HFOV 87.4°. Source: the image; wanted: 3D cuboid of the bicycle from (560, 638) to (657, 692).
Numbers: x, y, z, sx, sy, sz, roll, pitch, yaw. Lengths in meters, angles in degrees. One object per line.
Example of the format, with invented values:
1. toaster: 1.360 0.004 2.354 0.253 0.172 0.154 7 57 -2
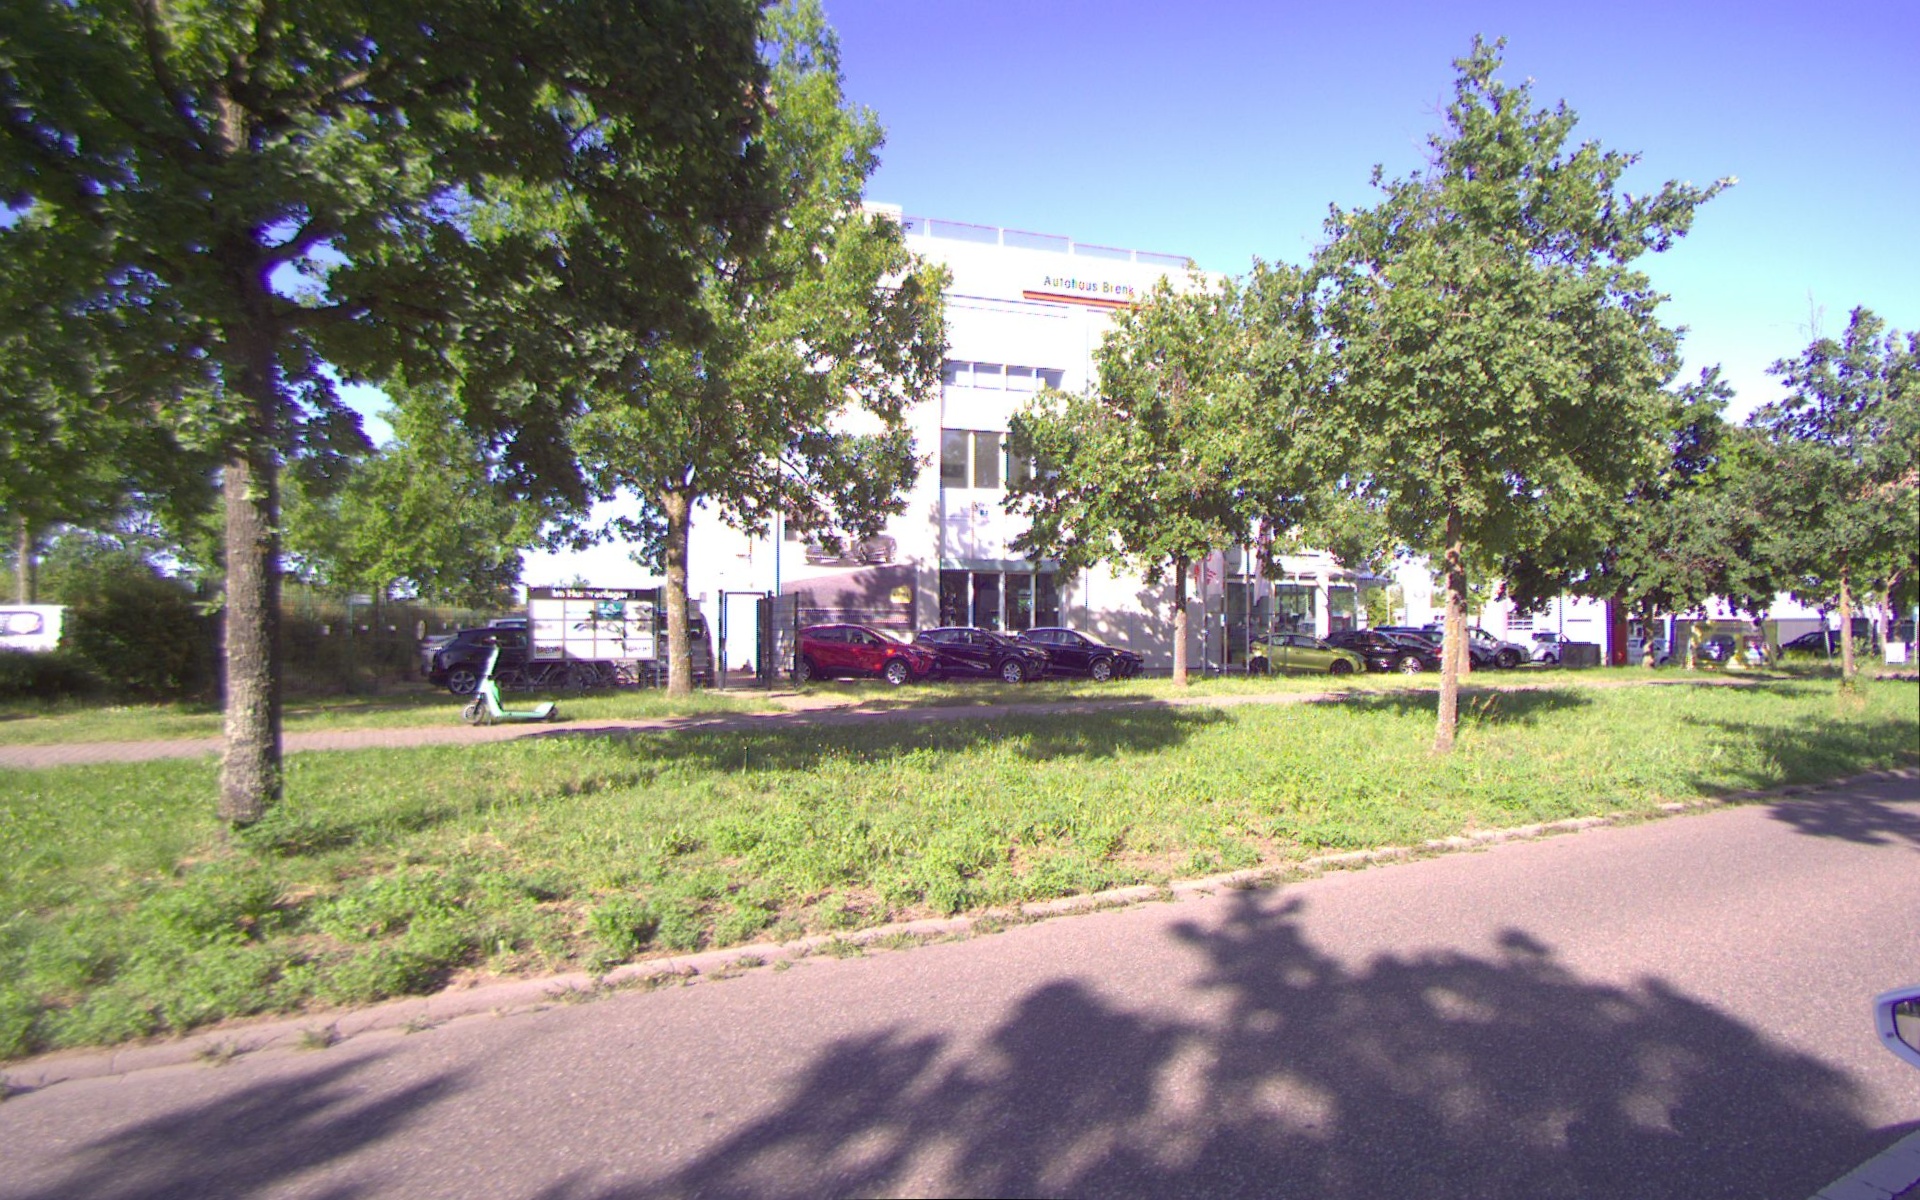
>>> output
1. bicycle: -7.546 1.378 21.582 1.869 1.102 0.636 1 -2 -30

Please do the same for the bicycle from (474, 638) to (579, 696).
1. bicycle: -8.679 1.326 20.130 1.869 1.102 0.636 1 -2 -30

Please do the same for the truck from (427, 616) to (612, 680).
1. truck: -13.646 1.469 31.286 5.116 1.866 2.019 1 -2 -27

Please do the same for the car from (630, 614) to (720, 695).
1. car: -7.239 1.282 25.274 1.994 1.807 4.014 1 0 -18

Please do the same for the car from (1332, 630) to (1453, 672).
1. car: 16.303 1.905 38.034 4.089 1.510 2.000 -1 -2 22

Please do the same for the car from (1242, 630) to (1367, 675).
1. car: 11.586 1.742 33.901 3.875 1.420 2.000 0 -2 19

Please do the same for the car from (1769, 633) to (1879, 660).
1. car: 49.803 2.670 57.988 1.920 1.499 4.477 1 -2 -32

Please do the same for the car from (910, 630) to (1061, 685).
1. car: 0.748 1.581 28.465 3.920 1.467 1.802 0 -2 18

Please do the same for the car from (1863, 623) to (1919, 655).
1. car: 62.645 2.604 67.100 5.744 2.014 2.024 1 -2 -33

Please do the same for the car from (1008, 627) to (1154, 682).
1. car: 3.593 1.583 29.981 3.930 1.531 1.797 -1 -1 32

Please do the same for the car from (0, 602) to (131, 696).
1. car: -20.823 1.064 20.588 5.355 1.840 2.299 -2 -1 -18

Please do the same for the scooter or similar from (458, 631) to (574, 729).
1. scooter or similar: -6.112 1.079 13.857 1.423 1.296 0.393 1 -2 -29

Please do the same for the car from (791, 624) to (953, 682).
1. car: -2.307 1.371 26.662 3.919 1.467 1.802 0 -2 13

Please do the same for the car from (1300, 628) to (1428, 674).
1. car: 14.225 1.763 35.581 4.087 1.558 1.897 0 -2 19

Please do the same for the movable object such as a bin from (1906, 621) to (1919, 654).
1. movable object such as a bin: 68.133 2.608 70.058 4.410 2.246 2.091 1 -2 -32

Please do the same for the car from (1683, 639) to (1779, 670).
1. car: 40.636 2.837 53.028 1.792 1.553 3.670 1 -2 -15

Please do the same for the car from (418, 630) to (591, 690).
1. car: -11.785 1.509 26.110 3.948 1.467 1.789 1 -2 -27

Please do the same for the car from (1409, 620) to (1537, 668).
1. car: 22.467 1.924 44.202 4.762 2.040 2.000 0 -2 19

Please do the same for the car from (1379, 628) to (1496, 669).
1. car: 19.079 1.903 40.138 4.095 1.582 1.997 -1 -2 29

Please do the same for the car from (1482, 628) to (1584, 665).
1. car: 30.909 2.469 54.387 1.908 1.931 5.014 1 -2 -13

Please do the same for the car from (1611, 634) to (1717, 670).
1. car: 33.174 2.422 47.470 1.931 1.639 3.743 1 -2 -15

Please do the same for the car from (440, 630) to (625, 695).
1. car: -10.249 1.454 24.139 3.948 1.467 1.789 1 -2 -27

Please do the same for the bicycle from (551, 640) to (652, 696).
1. bicycle: -7.329 1.373 20.560 1.869 1.102 0.636 1 -2 -30
